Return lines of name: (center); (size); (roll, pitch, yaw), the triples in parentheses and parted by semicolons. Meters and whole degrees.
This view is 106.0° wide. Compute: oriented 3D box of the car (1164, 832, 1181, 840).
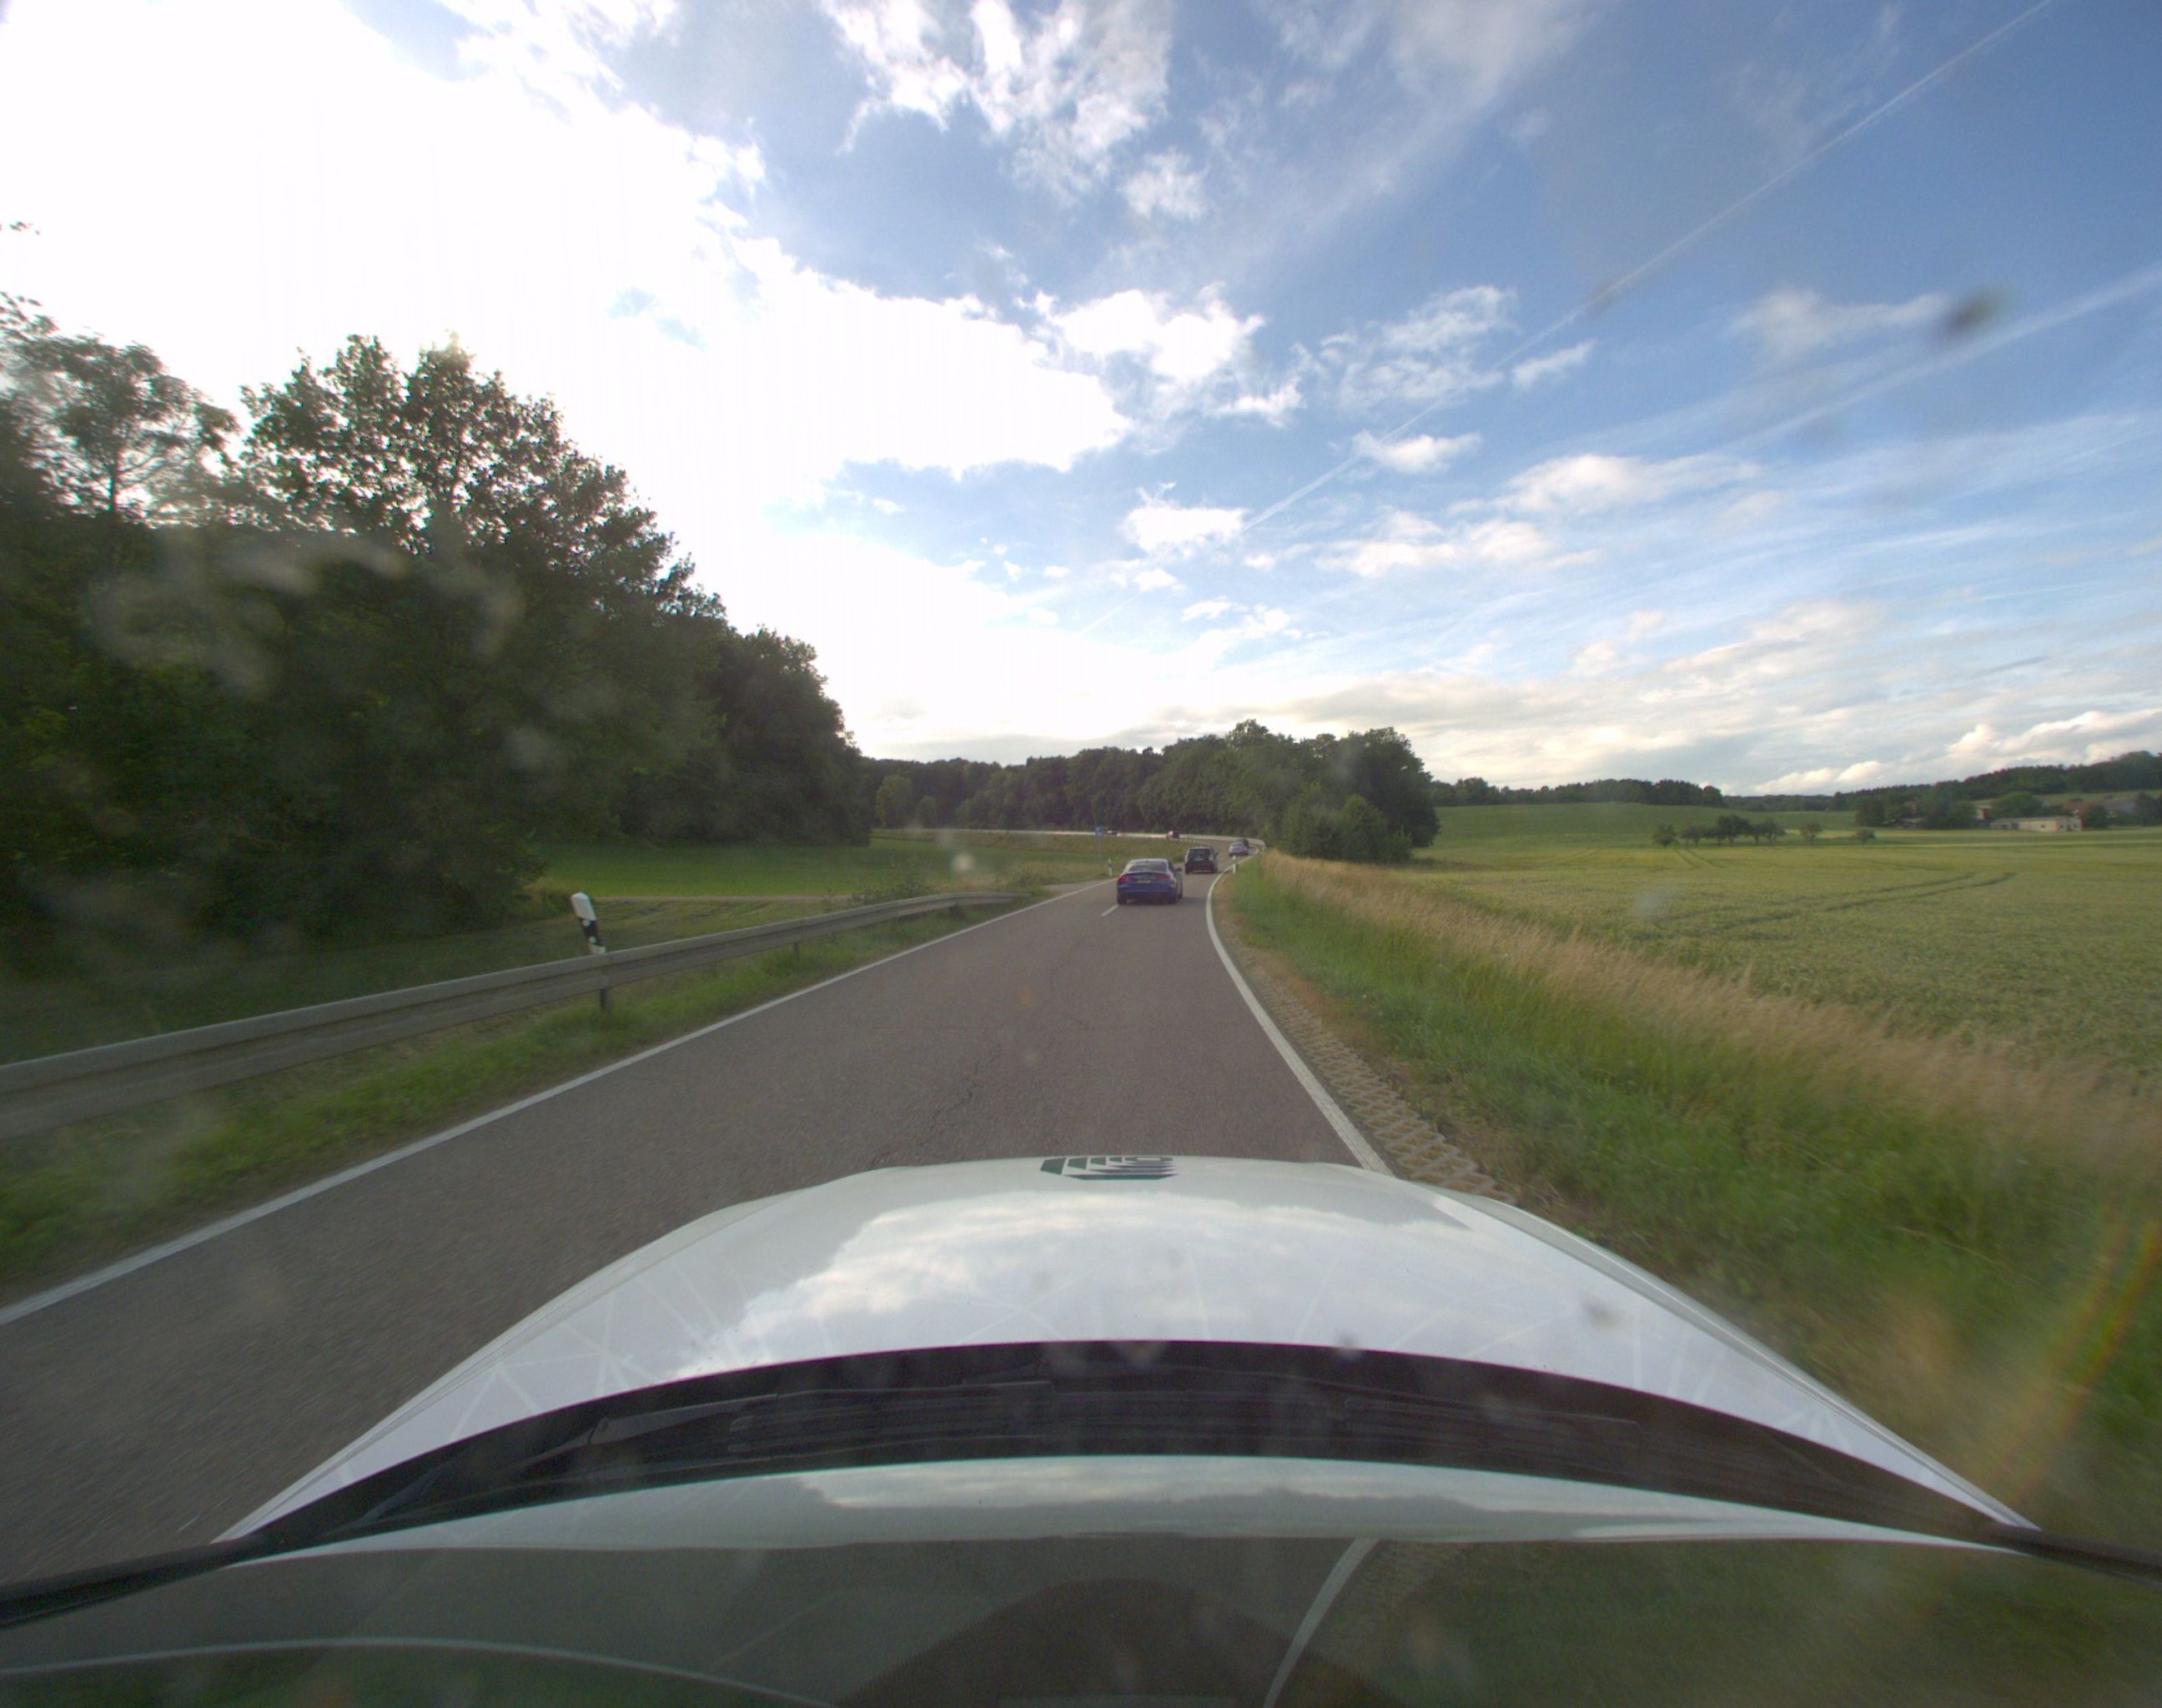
car: (20.137, -4.014, 179.289); (2.003, 1.679, 4.144); (-2, 1, -25)

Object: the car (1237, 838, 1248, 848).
car: (22.377, -1.501, 112.733); (1.462, 1.227, 3.310); (-4, 1, 11)

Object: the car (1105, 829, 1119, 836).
car: (7.927, -5.514, 208.940); (2.006, 1.771, 3.962); (-2, 1, -30)

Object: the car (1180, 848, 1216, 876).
car: (7.189, 0.479, 49.654); (1.849, 1.569, 4.013); (-2, 0, 12)

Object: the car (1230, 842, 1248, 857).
car: (16.583, -0.484, 85.293); (1.670, 1.376, 4.015); (-3, 0, 13)

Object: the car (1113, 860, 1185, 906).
car: (2.252, 0.863, 25.967); (1.807, 1.339, 4.363); (-1, -1, 11)
